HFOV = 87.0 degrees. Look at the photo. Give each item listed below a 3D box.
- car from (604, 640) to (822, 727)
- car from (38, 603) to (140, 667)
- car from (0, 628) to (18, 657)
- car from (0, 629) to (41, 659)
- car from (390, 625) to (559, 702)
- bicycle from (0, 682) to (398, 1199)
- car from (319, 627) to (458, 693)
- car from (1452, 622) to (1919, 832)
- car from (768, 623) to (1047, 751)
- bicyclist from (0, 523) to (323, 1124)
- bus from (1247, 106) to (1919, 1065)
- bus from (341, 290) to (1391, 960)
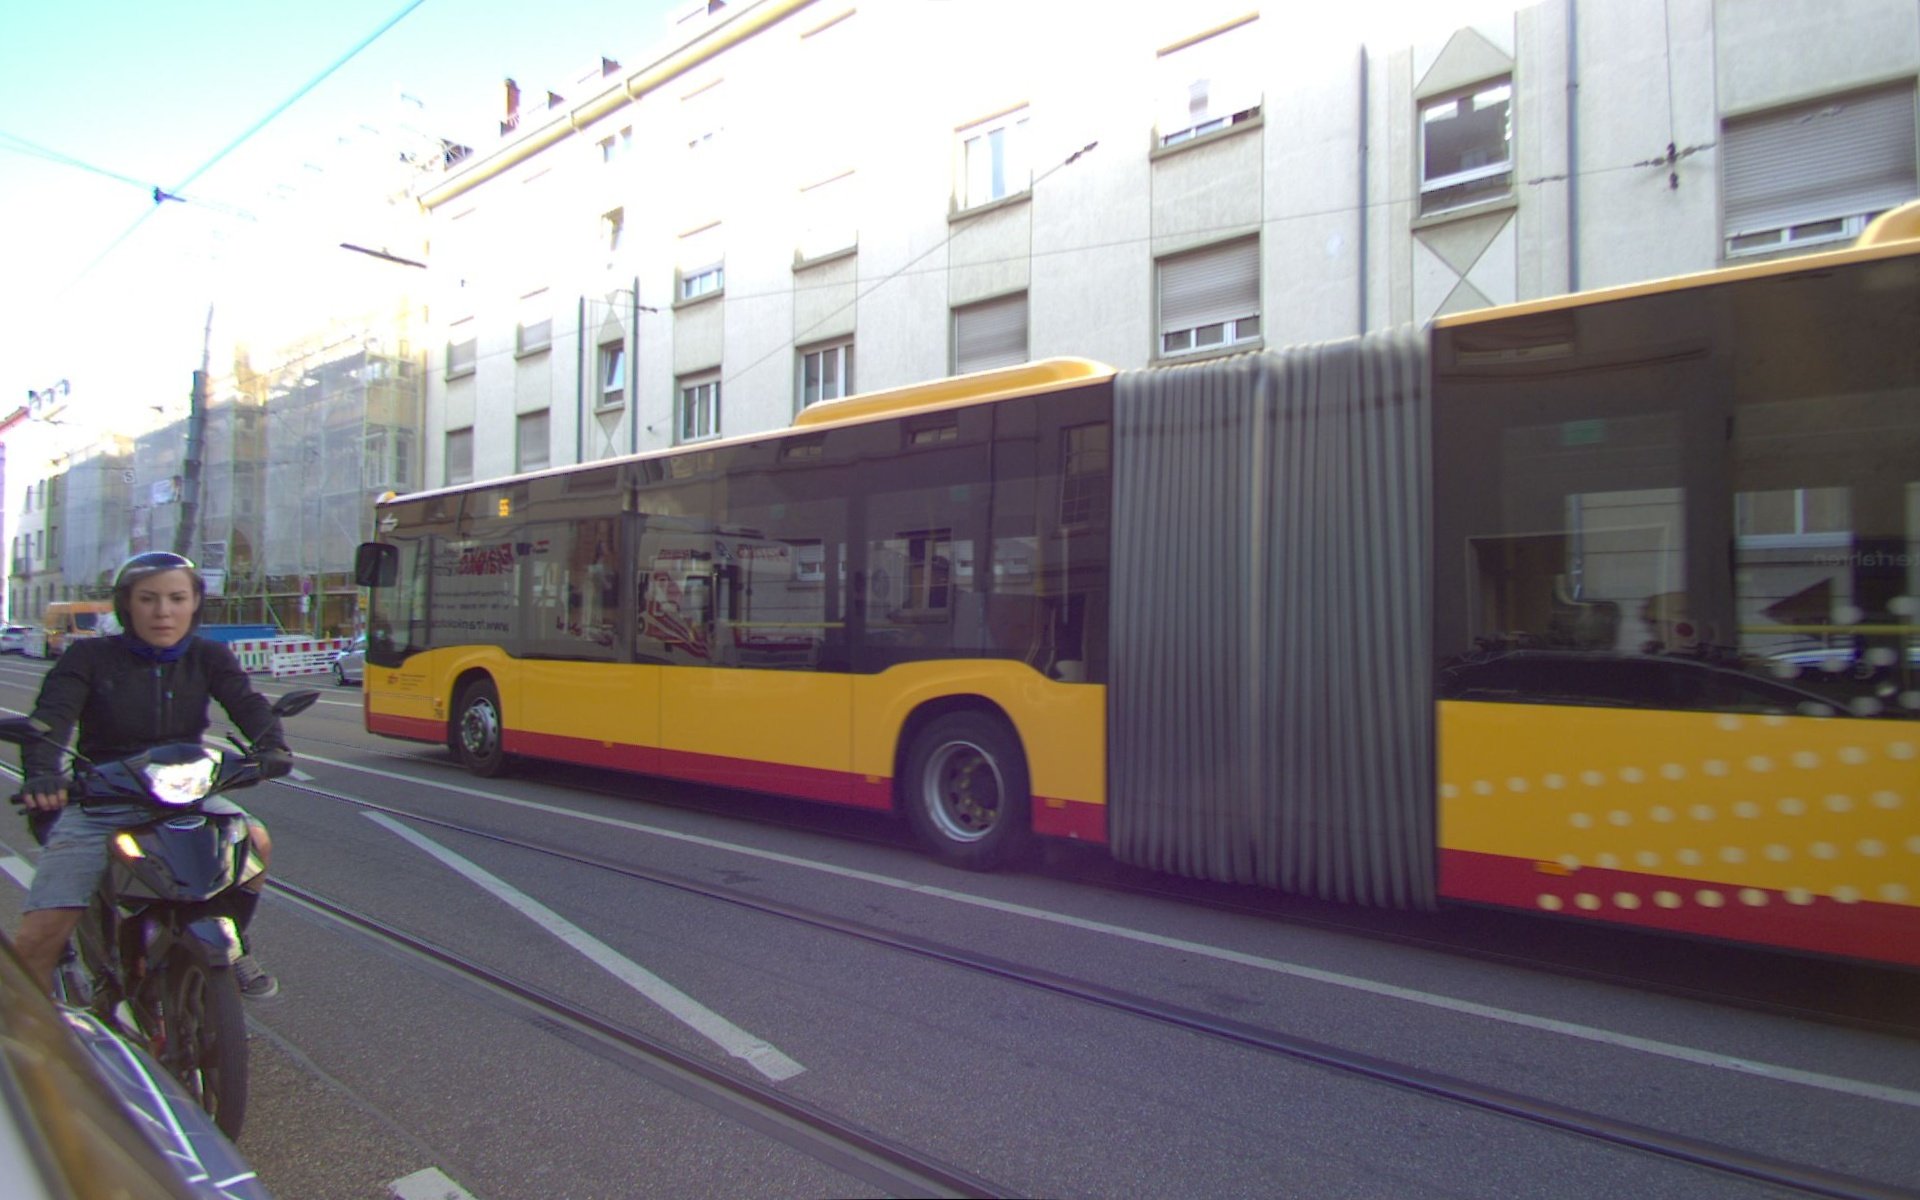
[{"bbox_3d":[-4.333,1.373,17.564,3.779,1.225,1.684,0,0,37],"label":"car"},{"bbox_3d":[-36.321,1.462,42.131,5.993,2.488,2.099,-1,-3,39],"label":"car"},{"bbox_3d":[-54.821,2.415,57.129,4.216,1.590,1.682,-1,-1,37],"label":"car"},{"bbox_3d":[-50.086,2.297,53.355,3.995,1.523,1.729,-1,-3,39],"label":"car"},{"bbox_3d":[-10.972,1.366,22.757,4.400,1.580,1.683,-1,-3,39],"label":"car"},{"bbox_3d":[-2.585,0.892,3.138,1.971,1.186,0.731,-1,-3,38],"label":"bicycle"},{"bbox_3d":[-14.550,1.467,25.691,3.995,1.426,1.683,0,1,39],"label":"car"},{"bbox_3d":[6.859,0.977,8.836,4.380,1.521,1.683,-1,0,38],"label":"car"},{"bbox_3d":[-0.847,1.151,14.852,3.995,1.581,1.683,-1,0,39],"label":"car"},{"bbox_3d":[-2.645,0.599,3.165,0.849,1.566,0.833,-1,-3,38],"label":"bicyclist"},{"bbox_3d":[5.168,-0.053,3.551,7.565,3.186,2.712,-1,-3,37],"label":"bus"},{"bbox_3d":[-1.884,0.234,9.005,10.180,3.182,2.696,-1,-3,38],"label":"bus"}]
